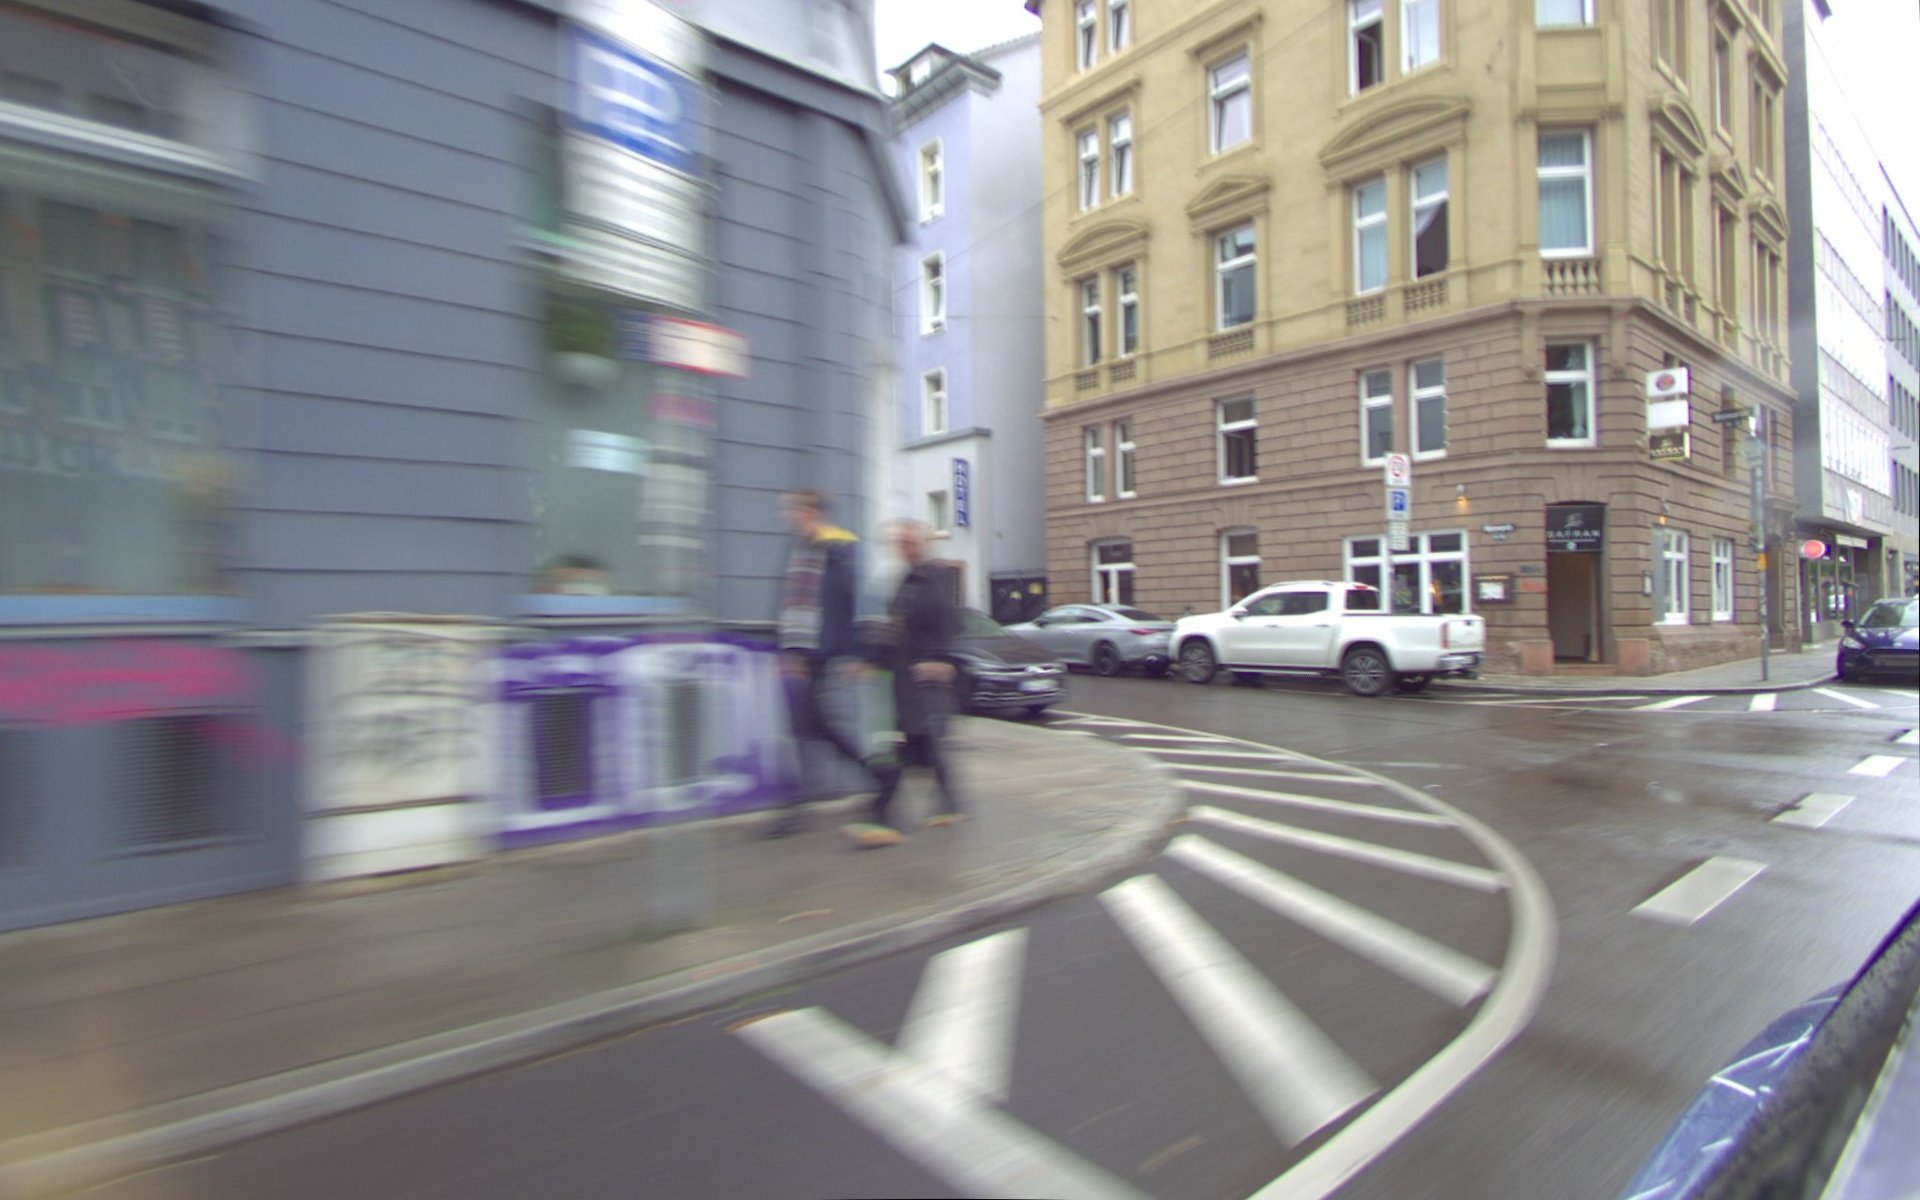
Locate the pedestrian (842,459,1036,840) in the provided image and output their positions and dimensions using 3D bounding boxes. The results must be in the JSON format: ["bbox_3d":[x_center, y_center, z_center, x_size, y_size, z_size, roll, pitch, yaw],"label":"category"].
[{"bbox_3d":[-0.117,0.250,5.508,0.806,1.876,0.662,1,-2,-41],"label":"pedestrian"}]

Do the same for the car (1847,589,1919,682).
[{"bbox_3d":[17.435,0.593,18.075,4.182,1.535,1.724,0,-2,-40],"label":"car"}]

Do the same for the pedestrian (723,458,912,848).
[{"bbox_3d":[-0.828,0.281,5.848,0.806,2.040,0.737,1,-2,-41],"label":"pedestrian"}]

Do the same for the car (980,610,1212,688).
[{"bbox_3d":[2.706,0.927,21.074,2.058,1.425,4.564,0,-1,-42],"label":"car"}]

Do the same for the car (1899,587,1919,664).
[{"bbox_3d":[21.124,0.506,21.118,4.278,1.543,1.749,0,-2,-41],"label":"car"}]

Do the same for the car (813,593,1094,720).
[{"bbox_3d":[-0.234,0.664,13.675,1.754,1.449,3.996,0,-1,-38],"label":"car"}]

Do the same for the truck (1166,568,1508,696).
[{"bbox_3d":[6.195,0.481,17.146,2.048,1.841,5.064,0,-1,-43],"label":"truck"}]

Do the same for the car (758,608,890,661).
[{"bbox_3d":[-4.130,0.974,30.202,1.756,1.449,4.422,0,-1,-42],"label":"car"}]
